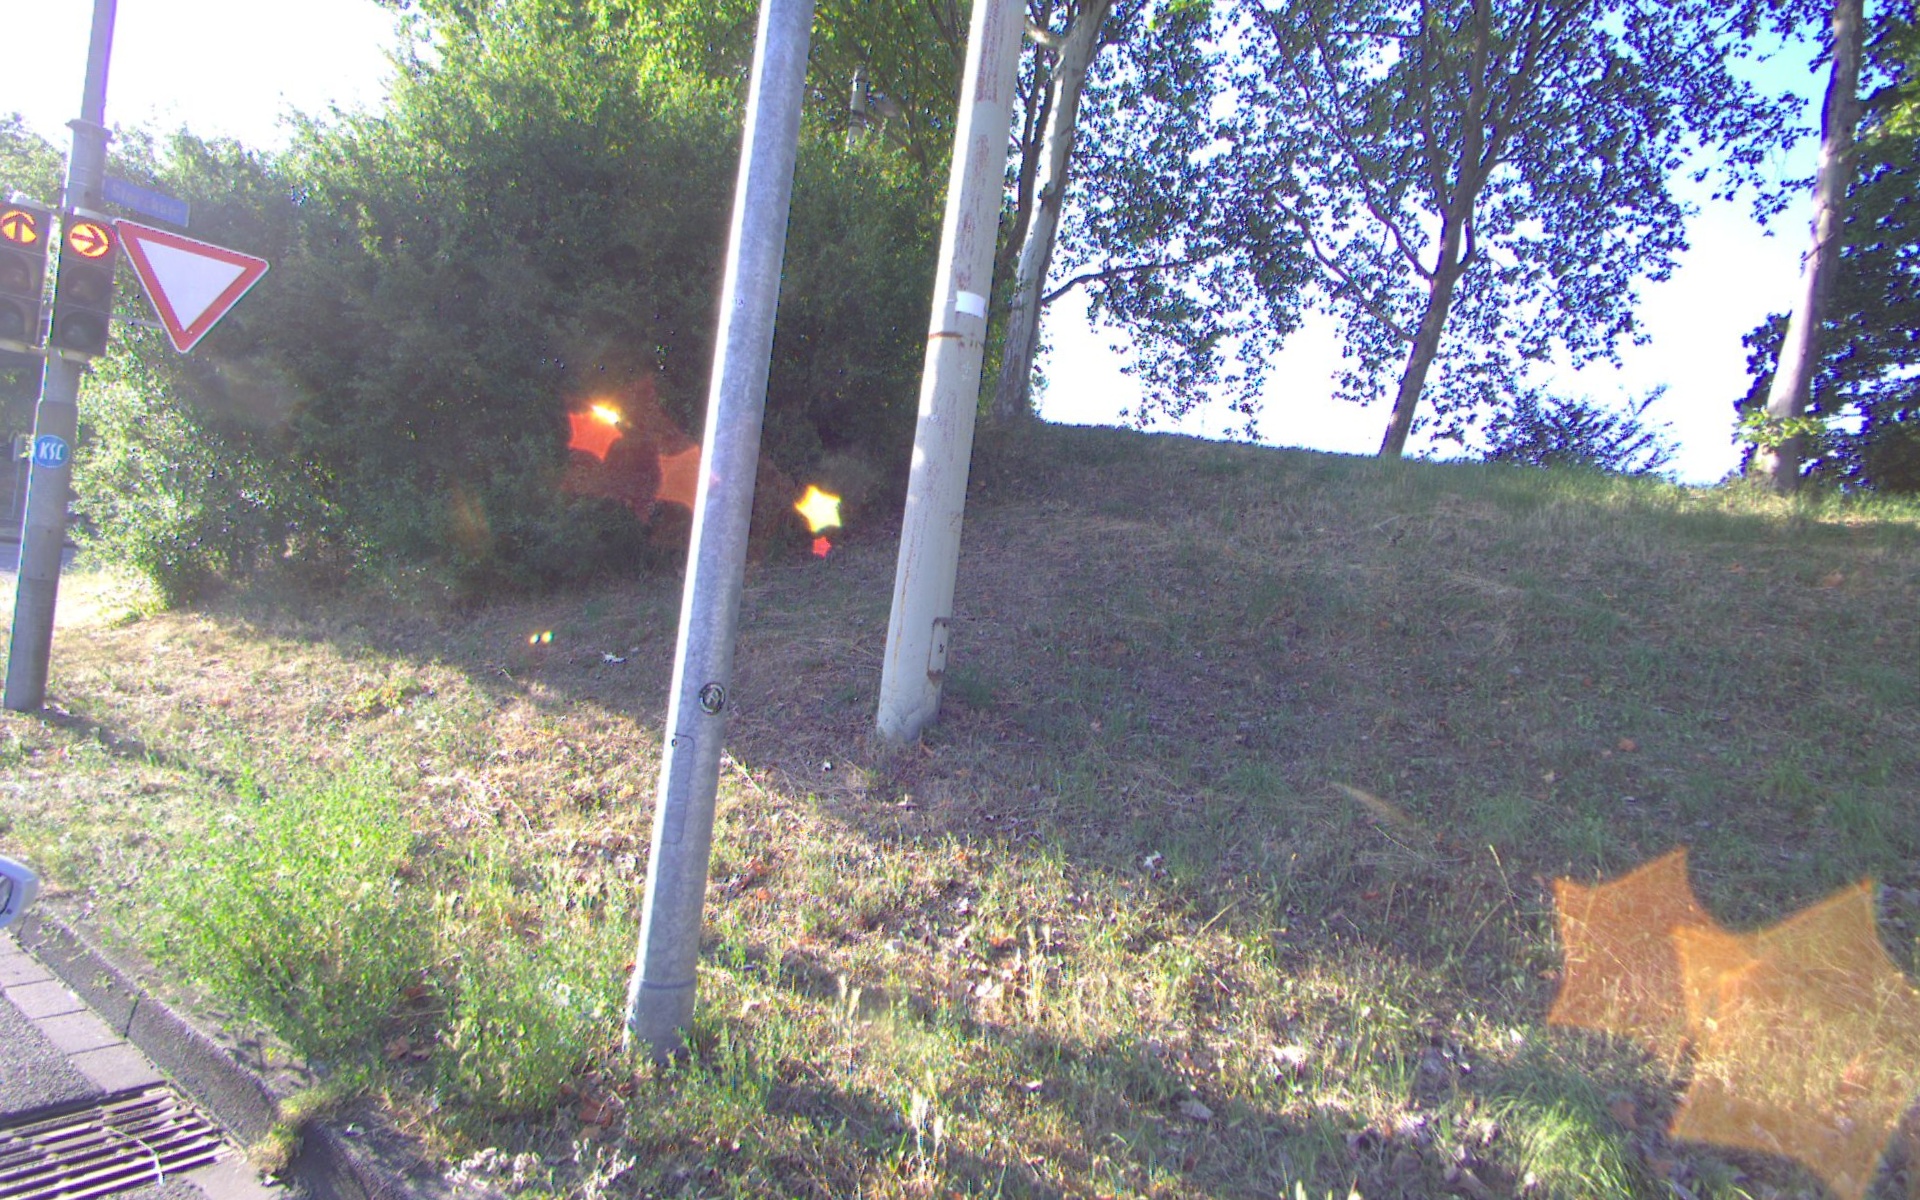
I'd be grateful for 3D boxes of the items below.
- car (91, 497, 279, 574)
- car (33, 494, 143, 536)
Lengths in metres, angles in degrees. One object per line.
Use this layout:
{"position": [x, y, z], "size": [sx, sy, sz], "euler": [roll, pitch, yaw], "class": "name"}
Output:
{"position": [-21.513, -1.730, 28.153], "size": [1.702, 1.535, 3.921], "euler": [7, -1, 10], "class": "car"}
{"position": [-42.847, -4.156, 49.549], "size": [1.664, 1.439, 3.737], "euler": [7, -1, 13], "class": "car"}
